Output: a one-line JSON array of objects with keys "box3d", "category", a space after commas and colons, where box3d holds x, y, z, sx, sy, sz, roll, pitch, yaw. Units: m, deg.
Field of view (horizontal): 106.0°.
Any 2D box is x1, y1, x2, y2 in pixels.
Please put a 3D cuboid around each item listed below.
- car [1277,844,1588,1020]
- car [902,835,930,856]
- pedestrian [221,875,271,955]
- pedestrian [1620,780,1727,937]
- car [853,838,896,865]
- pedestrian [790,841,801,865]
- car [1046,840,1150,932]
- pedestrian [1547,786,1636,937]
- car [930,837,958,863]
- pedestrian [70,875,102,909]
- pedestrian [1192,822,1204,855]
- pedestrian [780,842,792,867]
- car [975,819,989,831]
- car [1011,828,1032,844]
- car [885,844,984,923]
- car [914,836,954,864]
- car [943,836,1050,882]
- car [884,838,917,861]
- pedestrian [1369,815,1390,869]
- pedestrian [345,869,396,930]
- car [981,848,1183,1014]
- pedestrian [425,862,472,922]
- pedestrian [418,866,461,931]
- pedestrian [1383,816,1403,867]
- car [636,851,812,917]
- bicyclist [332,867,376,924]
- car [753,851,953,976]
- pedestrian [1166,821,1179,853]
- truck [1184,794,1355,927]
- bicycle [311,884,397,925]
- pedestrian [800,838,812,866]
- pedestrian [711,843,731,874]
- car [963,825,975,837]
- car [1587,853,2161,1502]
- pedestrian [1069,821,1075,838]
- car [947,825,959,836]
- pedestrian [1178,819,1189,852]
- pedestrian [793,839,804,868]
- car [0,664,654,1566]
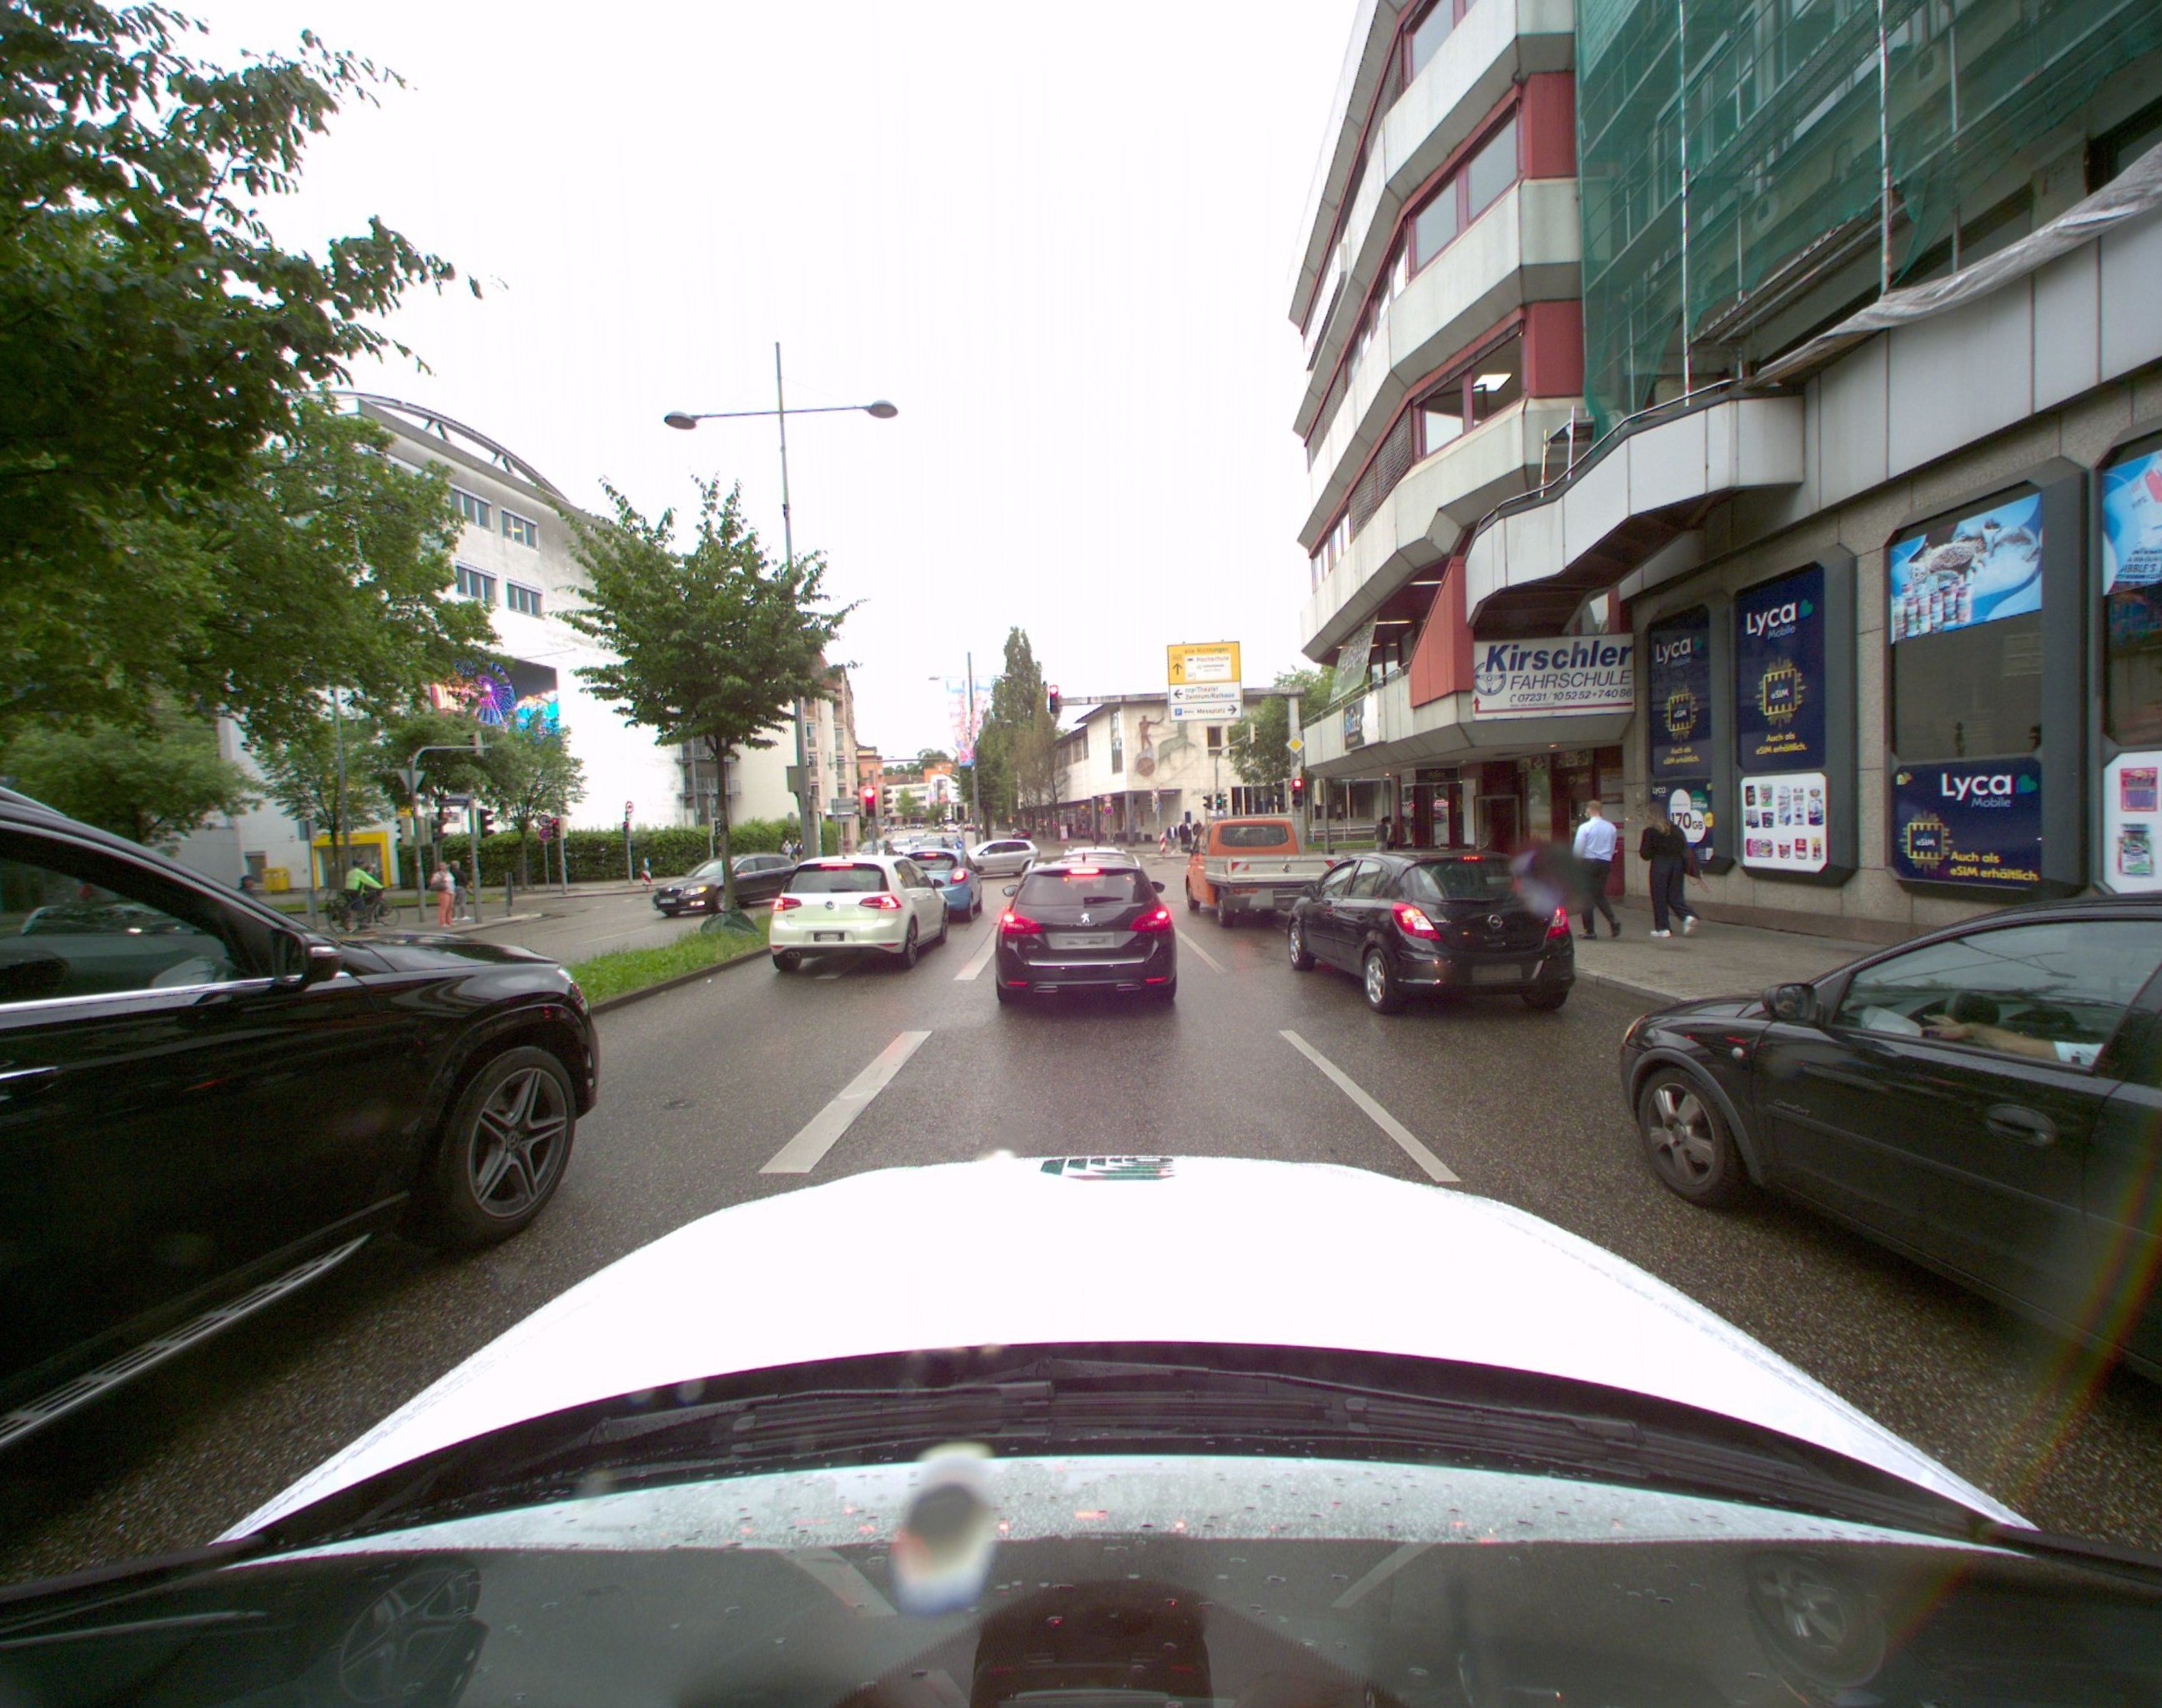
[{"box3d": [3.386, 0.620, 8.687, 1.611, 1.429, 3.840, -1, 1, -1], "category": "car"}, {"box3d": [-12.461, -0.673, 61.678, 1.630, 1.486, 3.604, -1, 1, -4], "category": "car"}, {"box3d": [-18.034, 1.301, 17.593, 0.552, 1.661, 0.583, -1, 2, 33], "category": "pedestrian"}, {"box3d": [7.714, 0.060, 10.633, 0.733, 1.934, 0.640, -5, -1, 1], "category": "pedestrian"}, {"box3d": [-11.991, -0.193, 47.470, 1.569, 1.486, 3.608, -1, 1, -1], "category": "car"}, {"box3d": [-18.476, -0.061, 52.692, 0.579, 1.599, 0.526, -1, -1, -5], "category": "pedestrian"}, {"box3d": [0.335, 0.502, 15.369, 1.690, 1.486, 3.795, -1, 1, 2], "category": "car"}, {"box3d": [6.725, 0.098, 10.760, 0.733, 1.935, 0.640, -1, -1, 1], "category": "pedestrian"}, {"box3d": [-9.264, -0.224, 55.347, 1.743, 1.640, 3.988, 0, -1, -9], "category": "car"}, {"box3d": [-48.432, 1.844, 39.656, 0.633, 1.643, 0.735, -1, -1, 8], "category": "pedestrian"}, {"box3d": [6.781, -0.895, 47.093, 0.633, 1.897, 0.735, -1, -1, 8], "category": "pedestrian"}, {"box3d": [-18.606, 0.027, 51.387, 0.579, 1.599, 0.526, -1, -1, -5], "category": "pedestrian"}, {"box3d": [-15.260, -4.454, 125.307, 1.727, 1.490, 4.711, 0, -1, -13], "category": "car"}, {"box3d": [-6.316, -1.955, 86.321, 1.787, 1.454, 4.494, -4, 3, -9], "category": "car"}, {"box3d": [-3.061, 0.555, 17.652, 1.629, 1.486, 3.606, -1, 1, -3], "category": "car"}, {"box3d": [-8.656, -0.214, 48.290, 1.739, 1.579, 3.997, -1, -1, -1], "category": "car"}, {"box3d": [-3.305, 0.179, 31.759, 3.758, 1.468, 1.625, -4, -2, -23], "category": "car"}, {"box3d": [-12.026, -0.325, 54.390, 1.630, 1.486, 3.604, -1, 1, -4], "category": "car"}, {"box3d": [9.607, -0.377, 26.236, 0.424, 1.682, 0.450, -3, -1, 0], "category": "pedestrian"}, {"box3d": [-21.028, 1.329, 24.112, 0.917, 1.784, 0.712, -1, -1, 13], "category": "pedestrian"}, {"box3d": [0.095, 0.668, 9.131, 1.770, 1.429, 3.845, -1, 1, 3], "category": "car"}, {"box3d": [-18.436, 1.100, 23.752, 0.750, 1.661, 0.628, -2, 2, 1], "category": "pedestrian"}, {"box3d": [-17.044, 1.171, 21.649, 0.555, 1.661, 0.580, -2, 2, 2], "category": "pedestrian"}, {"box3d": [10.160, -0.403, 26.534, 0.395, 1.640, 0.504, -3, -1, 2], "category": "pedestrian"}, {"box3d": [-9.616, 0.745, 22.432, 1.620, 1.486, 4.760, -3, 1, 18], "category": "car"}, {"box3d": [-20.383, 1.147, 22.833, 0.629, 1.530, 0.609, -3, -1, 1], "category": "bicyclist"}, {"box3d": [-3.020, 0.705, 11.639, 1.772, 1.429, 3.841, -1, 1, 0], "category": "car"}, {"box3d": [5.143, -0.935, 45.797, 0.633, 1.758, 0.735, -1, -1, 8], "category": "pedestrian"}, {"box3d": [3.436, 0.051, 15.958, 2.170, 2.172, 5.020, -1, 1, 0], "category": "truck"}, {"box3d": [-20.362, 1.395, 22.869, 0.613, 1.000, 1.941, -3, -1, 2], "category": "bicycle"}, {"box3d": [-17.596, -0.141, 52.107, 0.538, 1.748, 0.564, -1, -1, -3], "category": "pedestrian"}, {"box3d": [-19.605, 0.261, 44.365, 0.632, 1.643, 0.737, -1, -1, 20], "category": "pedestrian"}, {"box3d": [-20.407, -4.221, 148.003, 1.709, 1.936, 3.979, 0, -1, -15], "category": "car"}, {"box3d": [3.278, 0.744, 2.303, 1.600, 1.429, 3.626, -1, 1, 3], "category": "car"}, {"box3d": [-0.970, -2.563, 84.002, 0.469, 1.748, 0.537, 0, -1, -19], "category": "pedestrian"}, {"box3d": [-23.131, -4.180, 146.913, 1.709, 1.882, 3.979, 0, -1, -15], "category": "car"}, {"box3d": [5.983, -1.079, 47.553, 0.633, 1.897, 0.735, -1, -1, 8], "category": "pedestrian"}, {"box3d": [-17.532, -0.029, 50.552, 0.538, 1.748, 0.745, -1, -1, -7], "category": "pedestrian"}, {"box3d": [-3.200, 0.550, 1.672, 1.905, 1.870, 5.073, -1, -1, 1], "category": "car"}]
